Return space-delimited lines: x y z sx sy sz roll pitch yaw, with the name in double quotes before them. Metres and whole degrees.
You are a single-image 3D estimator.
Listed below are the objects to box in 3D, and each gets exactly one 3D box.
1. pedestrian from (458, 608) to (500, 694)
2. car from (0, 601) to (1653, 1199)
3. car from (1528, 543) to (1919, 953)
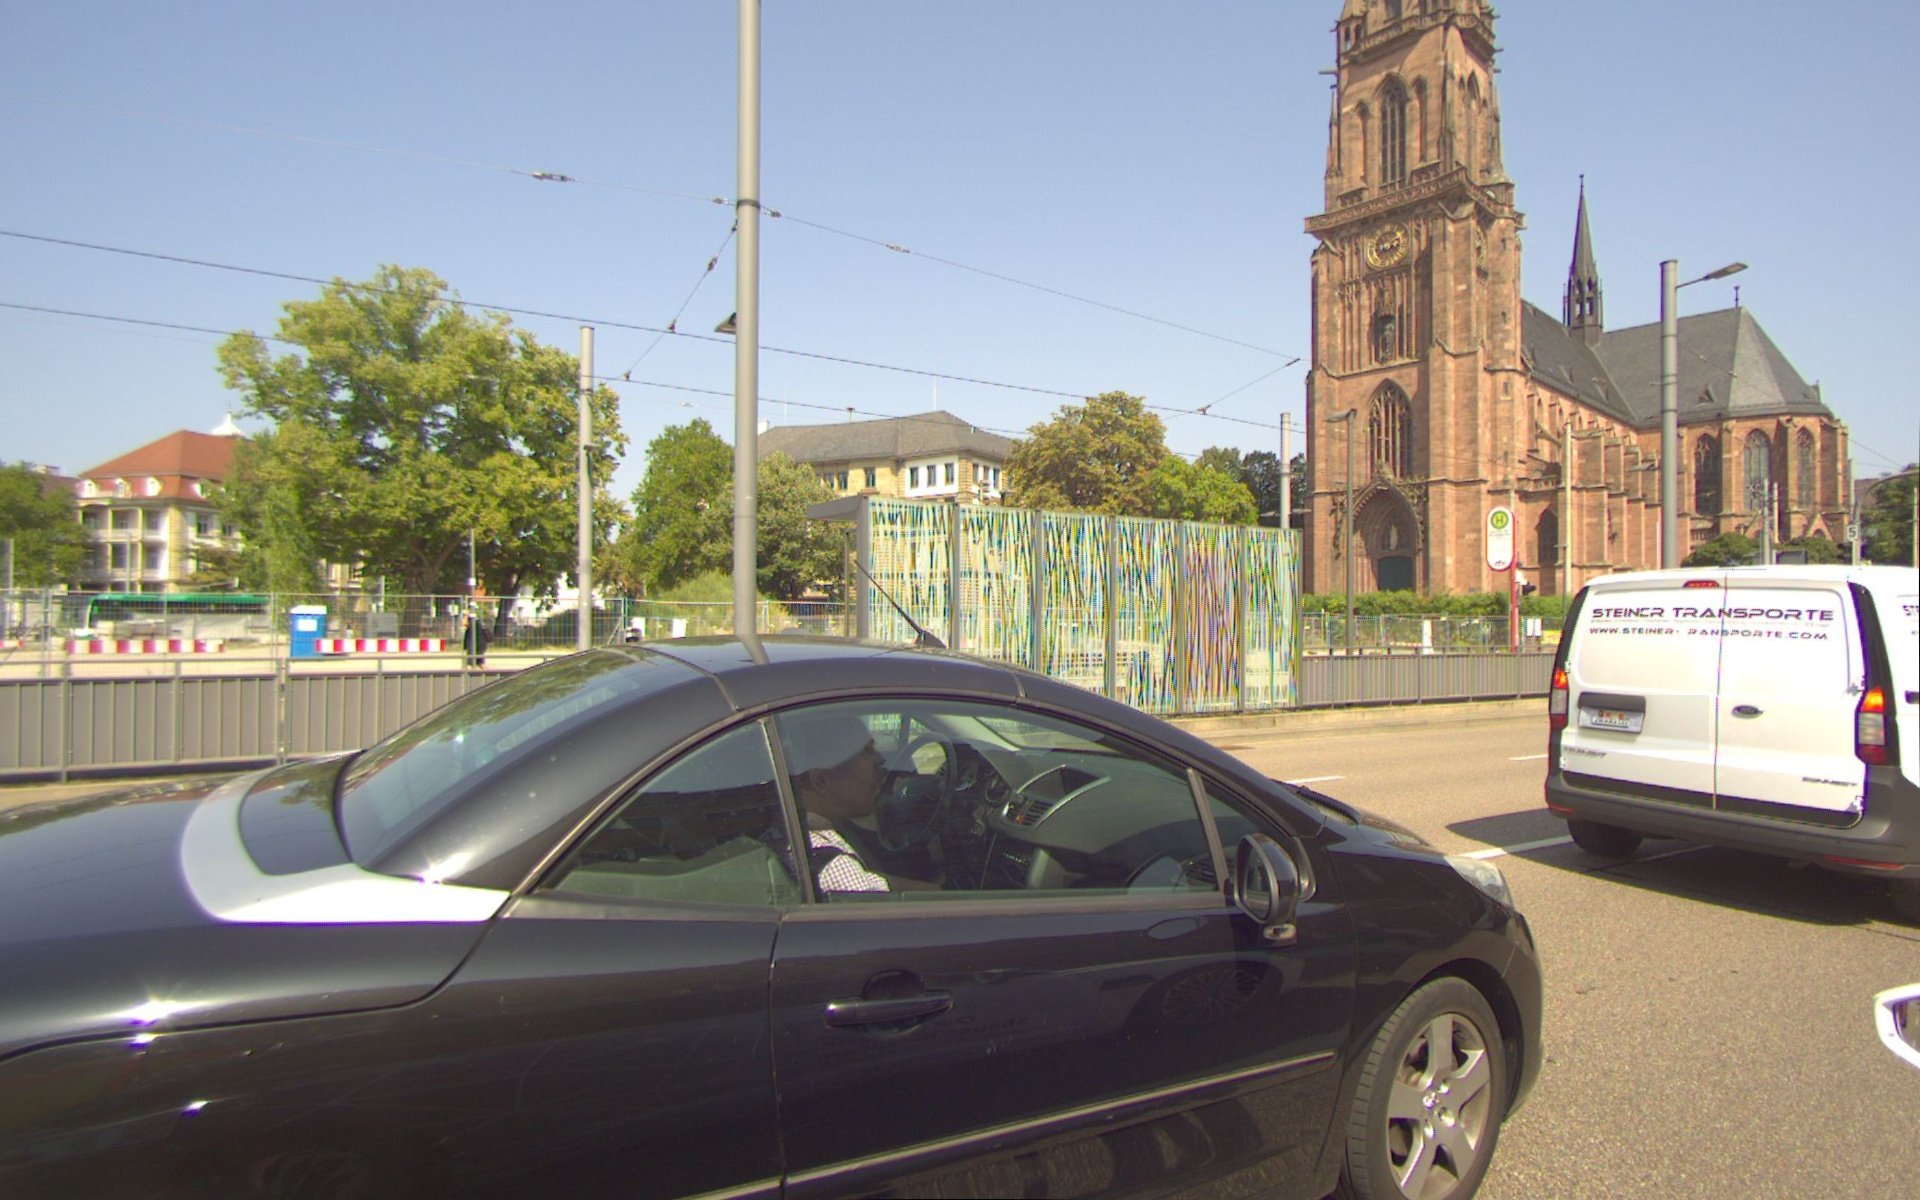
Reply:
"pedestrian" -10.430 1.091 21.756 0.752 1.811 0.740 1 -2 -30
"car" -0.162 0.756 2.459 3.758 1.432 1.679 1 0 -31
"car" 5.667 0.709 6.328 4.188 1.844 1.739 1 -1 -30
